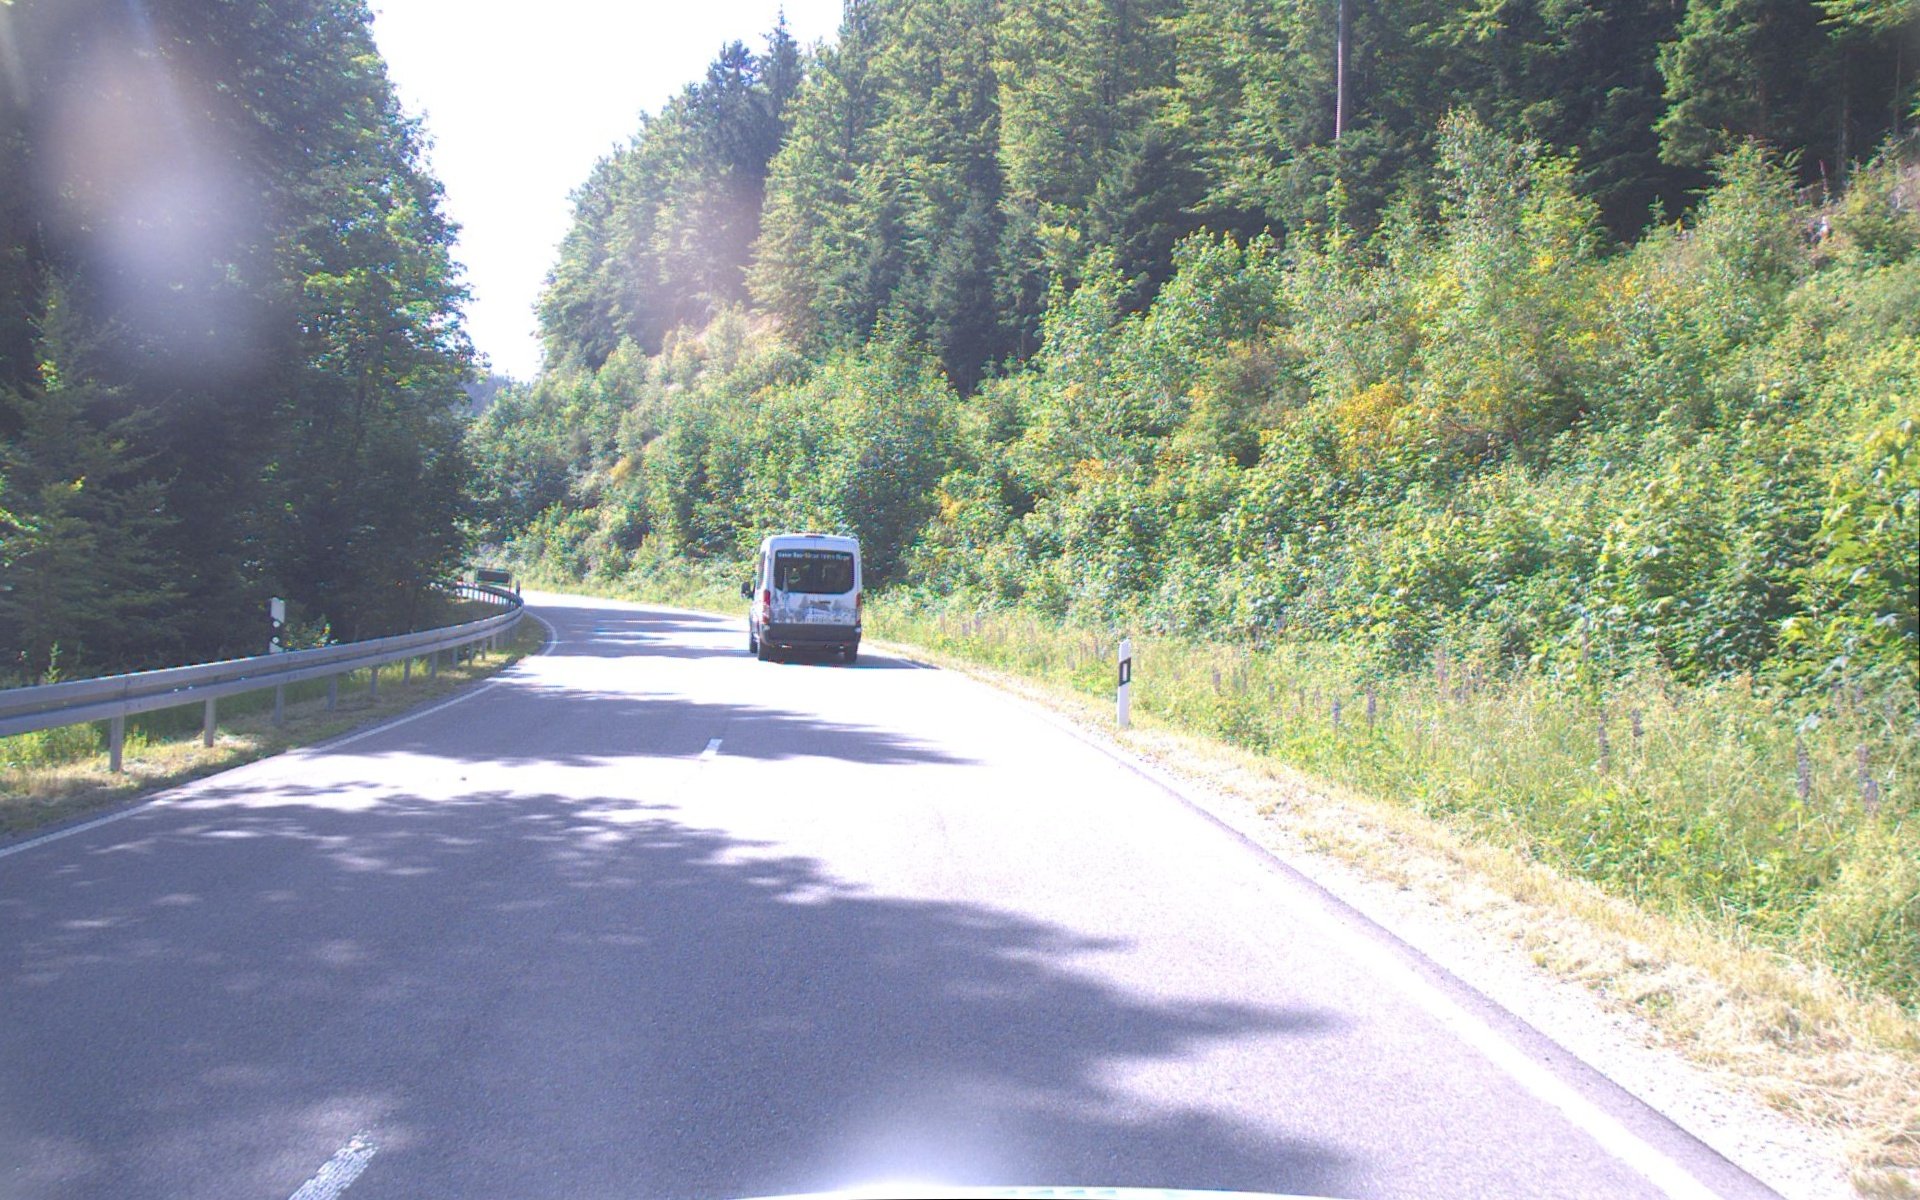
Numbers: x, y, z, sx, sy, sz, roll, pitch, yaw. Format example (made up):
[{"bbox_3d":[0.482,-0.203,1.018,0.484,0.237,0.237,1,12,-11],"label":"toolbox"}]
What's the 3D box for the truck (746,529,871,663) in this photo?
[{"bbox_3d":[-3.236,-0.109,34.296,2.077,2.542,5.346,0,1,-11],"label":"truck"}]
